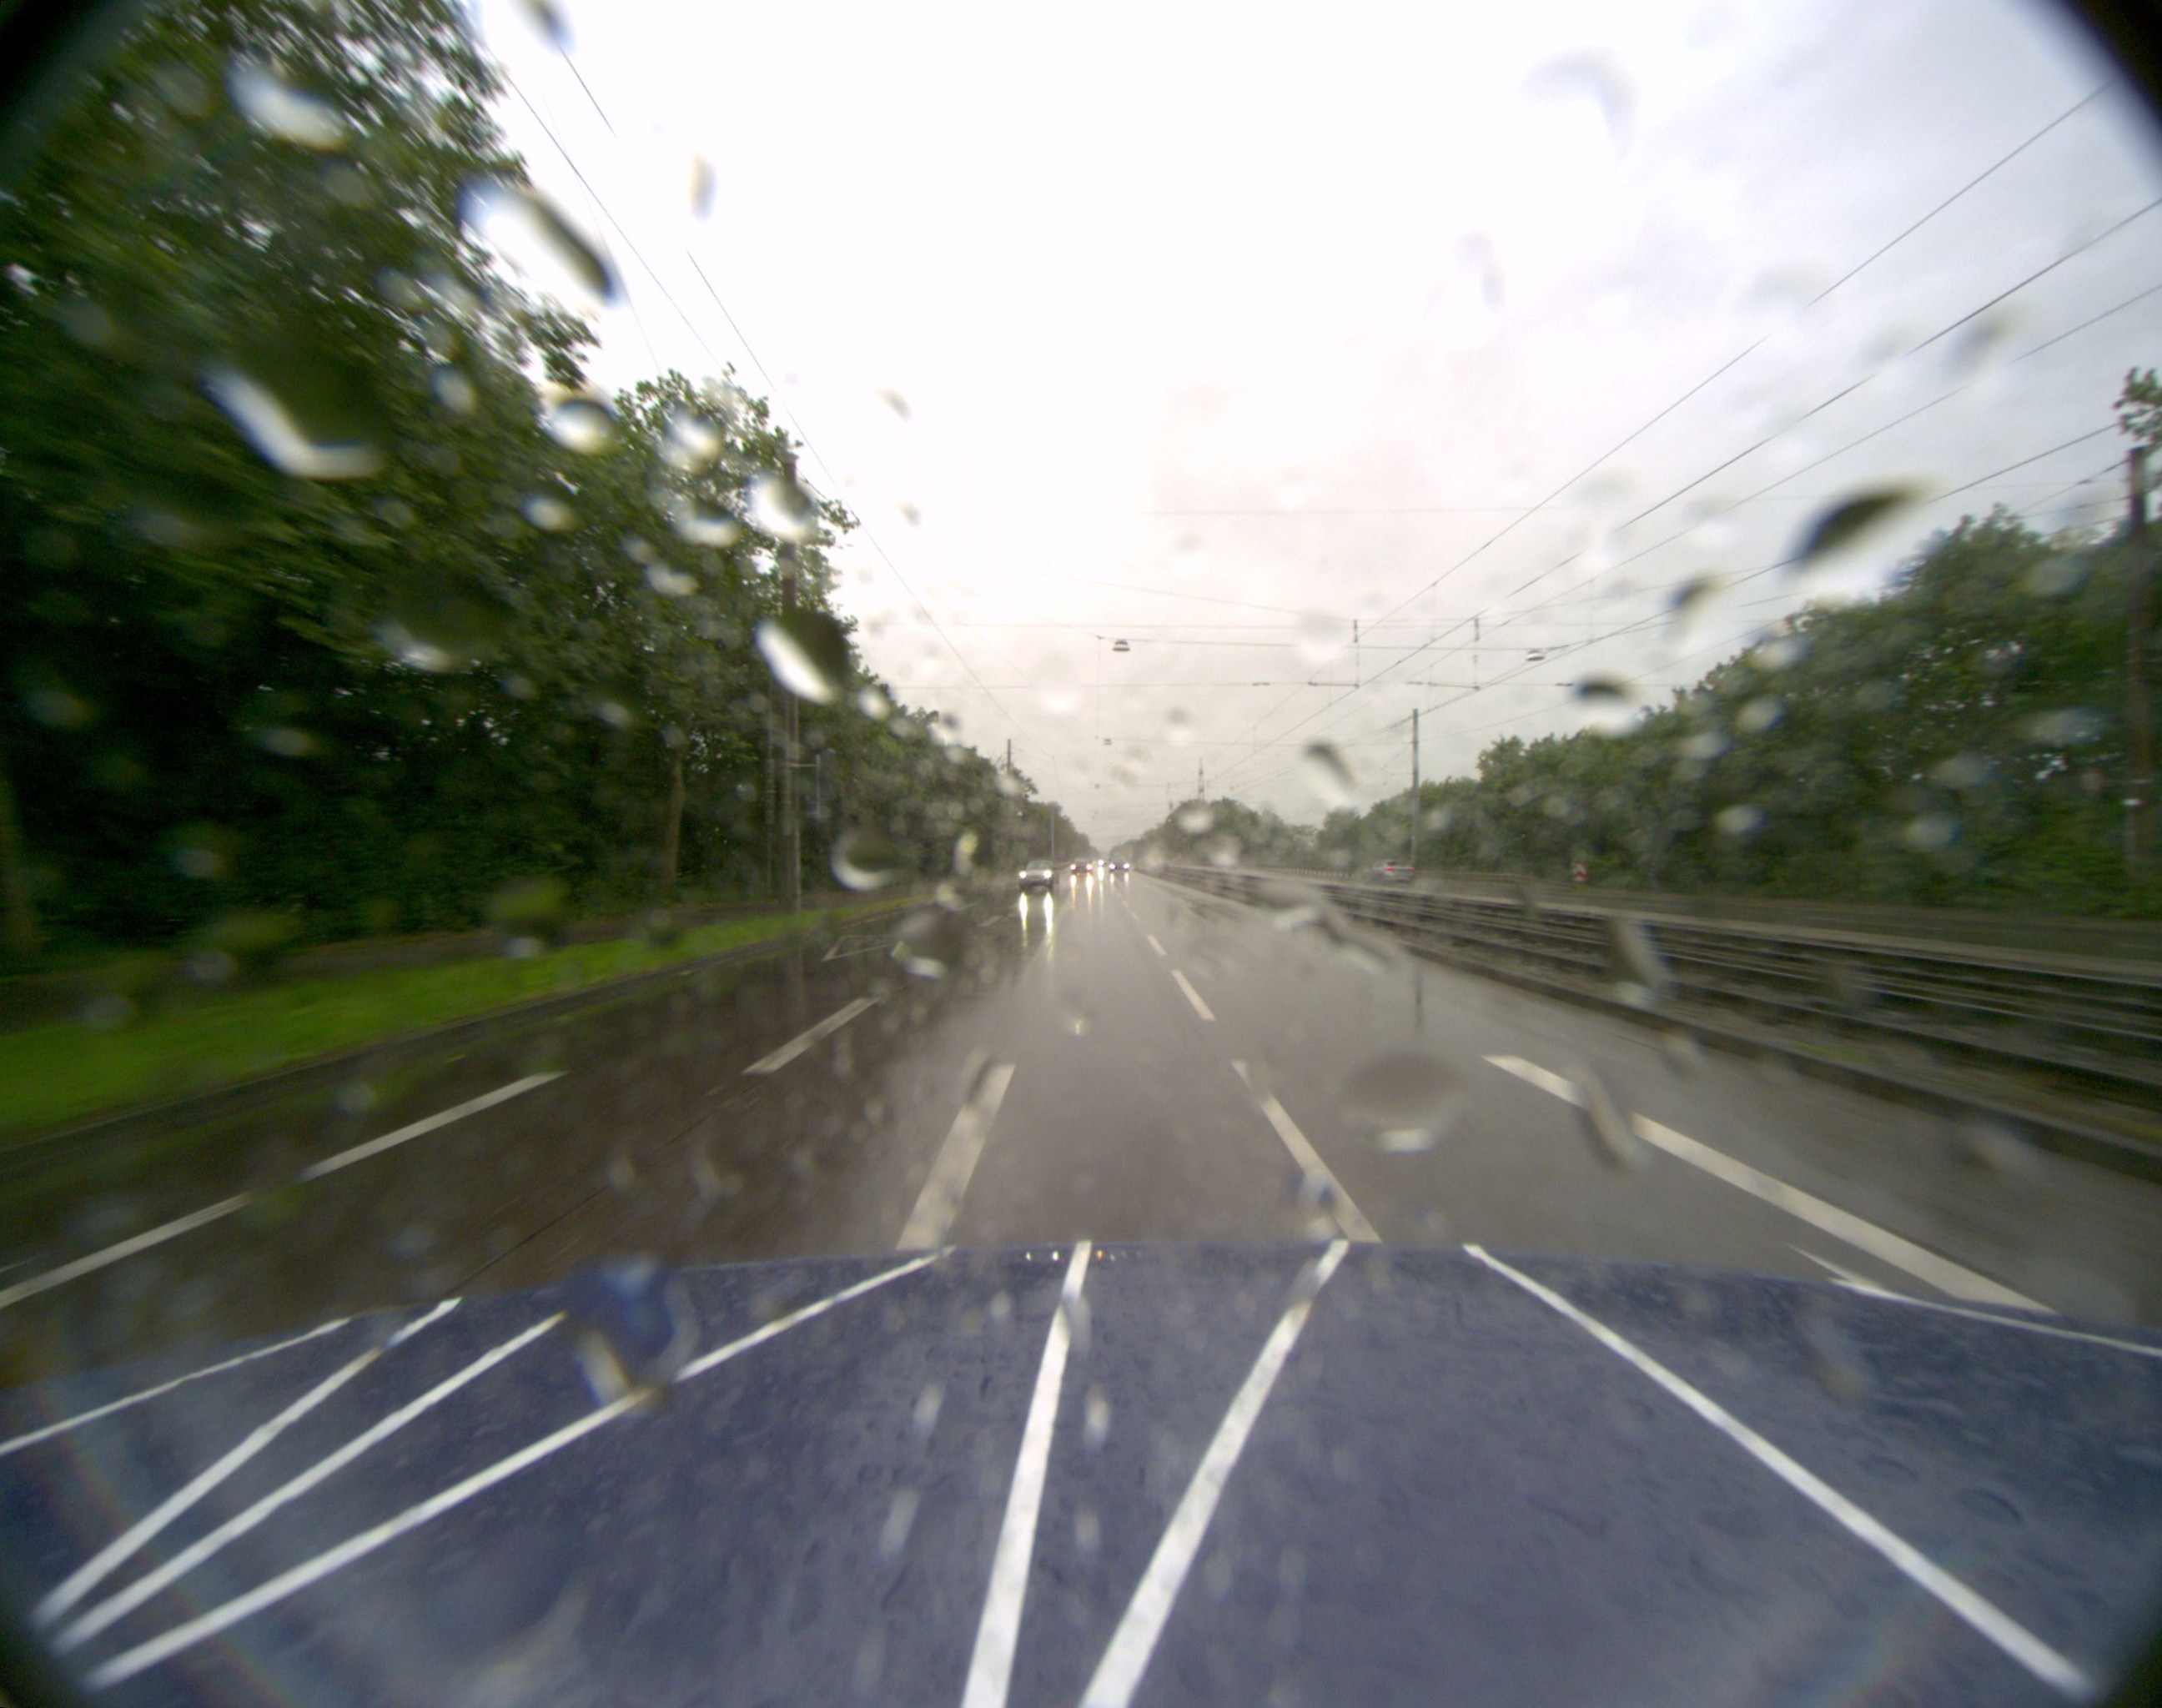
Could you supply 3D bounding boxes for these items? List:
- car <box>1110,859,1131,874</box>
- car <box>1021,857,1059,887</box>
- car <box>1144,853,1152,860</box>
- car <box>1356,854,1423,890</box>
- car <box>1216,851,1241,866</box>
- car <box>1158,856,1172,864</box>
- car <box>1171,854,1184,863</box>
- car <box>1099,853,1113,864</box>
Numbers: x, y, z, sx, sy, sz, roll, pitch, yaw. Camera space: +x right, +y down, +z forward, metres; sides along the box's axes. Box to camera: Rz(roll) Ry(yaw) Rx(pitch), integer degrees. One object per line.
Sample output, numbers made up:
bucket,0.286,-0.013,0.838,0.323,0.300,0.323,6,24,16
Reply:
car,4.001,1.262,78.137,1.971,1.412,4.000,1,0,1
car,-2.106,0.922,39.939,1.751,1.412,4.000,1,0,1
car,18.495,0.723,210.465,1.853,1.821,4.394,-4,0,1
car,17.154,0.954,42.531,1.998,1.772,4.000,-5,0,0
car,17.858,0.544,92.071,1.999,1.662,4.872,-1,0,0
car,15.130,1.041,136.923,1.999,1.380,4.853,-1,0,0
car,18.180,0.862,142.956,1.845,1.565,4.385,-1,0,1
car,3.631,0.642,111.021,1.971,1.412,4.000,1,0,1
